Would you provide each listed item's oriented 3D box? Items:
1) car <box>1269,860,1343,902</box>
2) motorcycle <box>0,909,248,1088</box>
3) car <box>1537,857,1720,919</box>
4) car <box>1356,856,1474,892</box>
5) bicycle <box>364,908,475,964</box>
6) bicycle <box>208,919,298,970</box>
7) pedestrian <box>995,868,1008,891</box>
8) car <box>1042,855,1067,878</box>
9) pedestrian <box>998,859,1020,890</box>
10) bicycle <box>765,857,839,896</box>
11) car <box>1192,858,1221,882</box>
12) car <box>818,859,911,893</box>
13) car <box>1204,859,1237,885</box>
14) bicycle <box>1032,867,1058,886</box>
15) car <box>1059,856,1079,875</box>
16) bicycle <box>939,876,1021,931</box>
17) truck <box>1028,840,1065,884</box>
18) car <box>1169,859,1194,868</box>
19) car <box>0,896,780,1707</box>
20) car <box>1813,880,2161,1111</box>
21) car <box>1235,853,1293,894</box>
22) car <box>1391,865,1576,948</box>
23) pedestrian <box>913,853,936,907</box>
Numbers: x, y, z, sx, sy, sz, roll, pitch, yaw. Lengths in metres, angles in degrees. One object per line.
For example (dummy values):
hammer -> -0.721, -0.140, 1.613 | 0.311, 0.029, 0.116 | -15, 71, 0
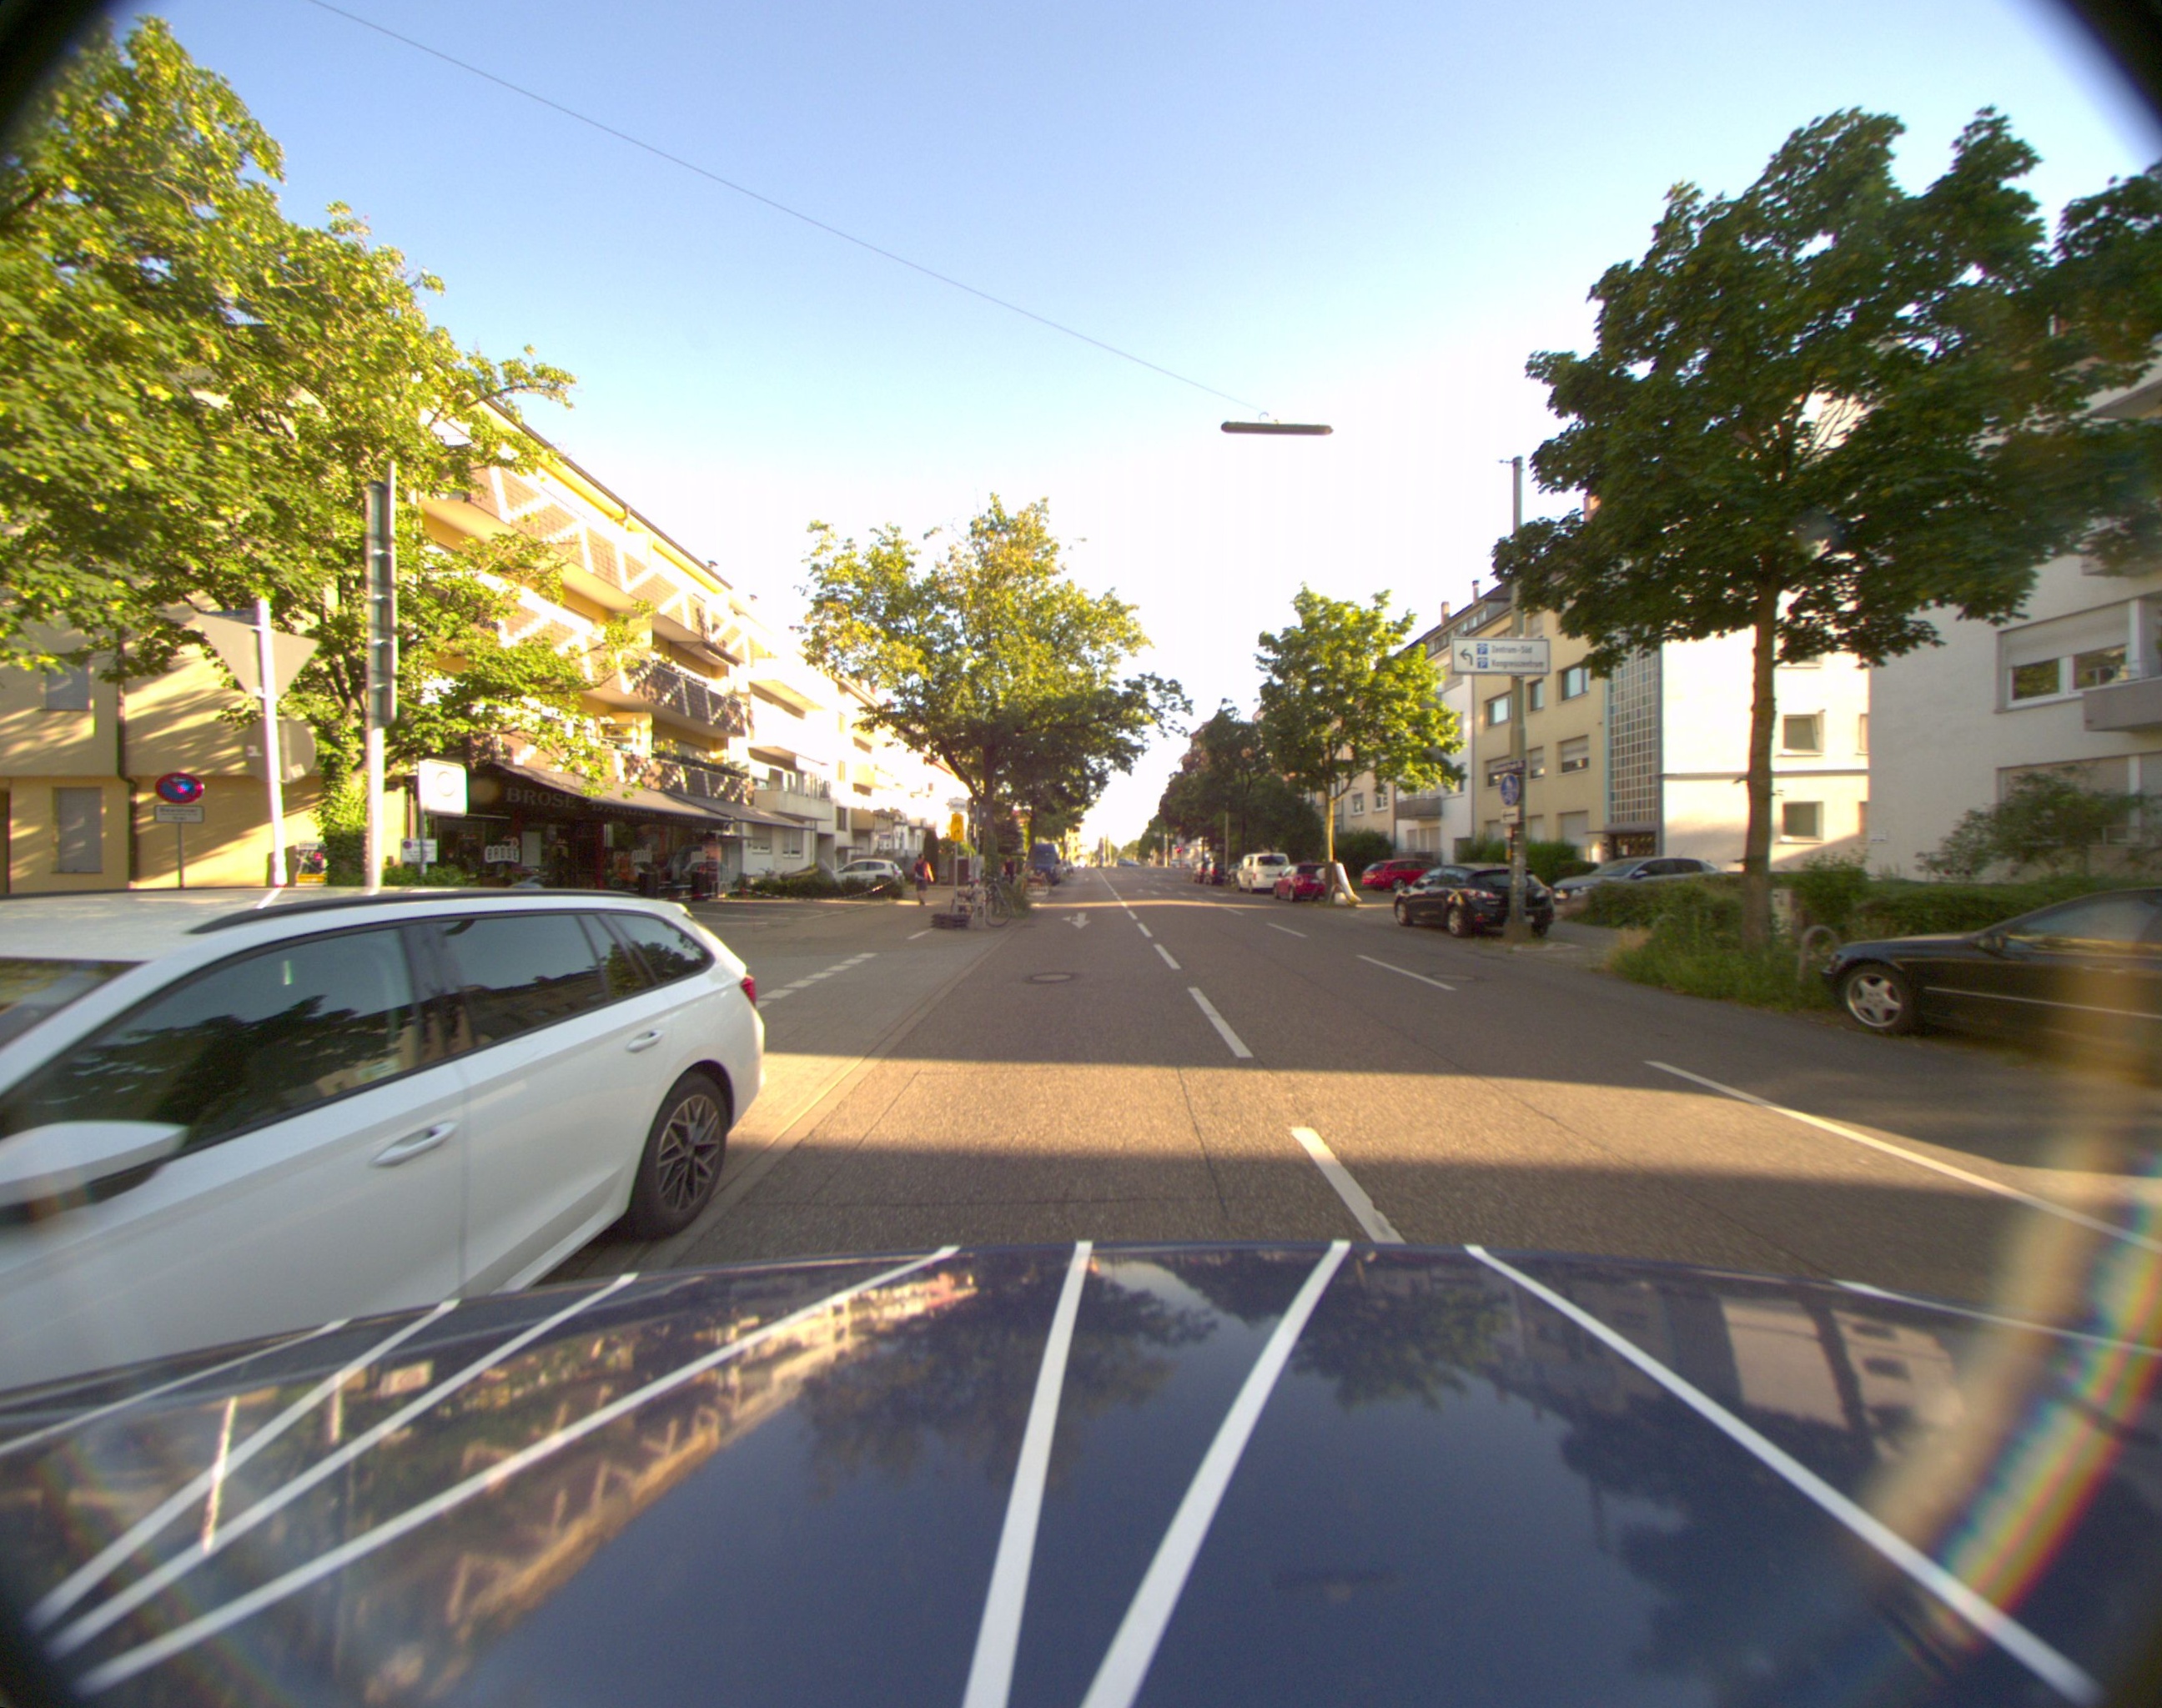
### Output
car -> 8.357, 0.971, 28.547 | 1.740, 1.455, 3.636 | 0, 0, 1
motorcycle -> -8.087, 1.091, 5.881 | 2.163, 1.232, 0.789 | 0, 0, -9
car -> 13.994, 0.847, 19.565 | 3.467, 1.515, 1.686 | 0, 0, 2
car -> 14.800, 0.860, 33.751 | 4.563, 1.397, 1.739 | -2, 0, -9
bicycle -> -11.068, 1.353, 12.783 | 0.486, 0.763, 1.531 | 0, 0, 2
bicycle -> -13.712, 1.483, 12.600 | 0.914, 0.739, 0.427 | 0, 0, -31
pedestrian -> -3.807, 1.221, 36.561 | 0.553, 1.053, 0.532 | 0, 0, 2
car -> -2.030, 0.923, 59.299 | 1.704, 1.739, 4.000 | 0, 0, 2
pedestrian -> -3.327, 0.935, 35.267 | 0.917, 1.435, 0.811 | 0, 0, -1
bicycle -> -10.585, 0.842, 28.943 | 2.459, 1.433, 0.928 | 0, 0, -1
car -> 8.378, 1.027, 50.783 | 1.407, 1.456, 3.683 | -2, 0, 2
car -> -9.943, 0.995, 35.084 | 3.878, 1.496, 1.575 | 0, 0, -4
car -> 8.538, 1.079, 46.609 | 1.407, 1.397, 3.683 | -2, 0, 2
bicycle -> -2.122, 1.310, 44.631 | 1.469, 1.058, 0.445 | 0, 0, 1
car -> -1.147, 1.112, 74.523 | 1.704, 1.739, 4.000 | 0, 0, 2
bicycle -> -2.405, 1.146, 17.994 | 1.894, 1.155, 0.616 | 1, 1, 28
truck -> -2.105, 0.470, 48.074 | 1.998, 2.629, 5.616 | 0, 0, 1
car -> 17.677, 1.605, 133.504 | 3.988, 1.575, 2.004 | 0, 0, 38
car -> -2.596, 0.969, 1.816 | 1.825, 1.469, 4.621 | 0, 0, 1
car -> 7.775, 0.949, 5.004 | 1.641, 1.399, 4.444 | 0, 0, 0
car -> 8.456, 0.862, 35.490 | 1.740, 1.799, 4.192 | 0, 0, 1
car -> 8.266, 1.000, 16.068 | 1.862, 1.477, 4.000 | 0, 0, 2
pedestrian -> -5.145, 0.851, 25.035 | 0.619, 1.761, 0.562 | 0, -1, 1
